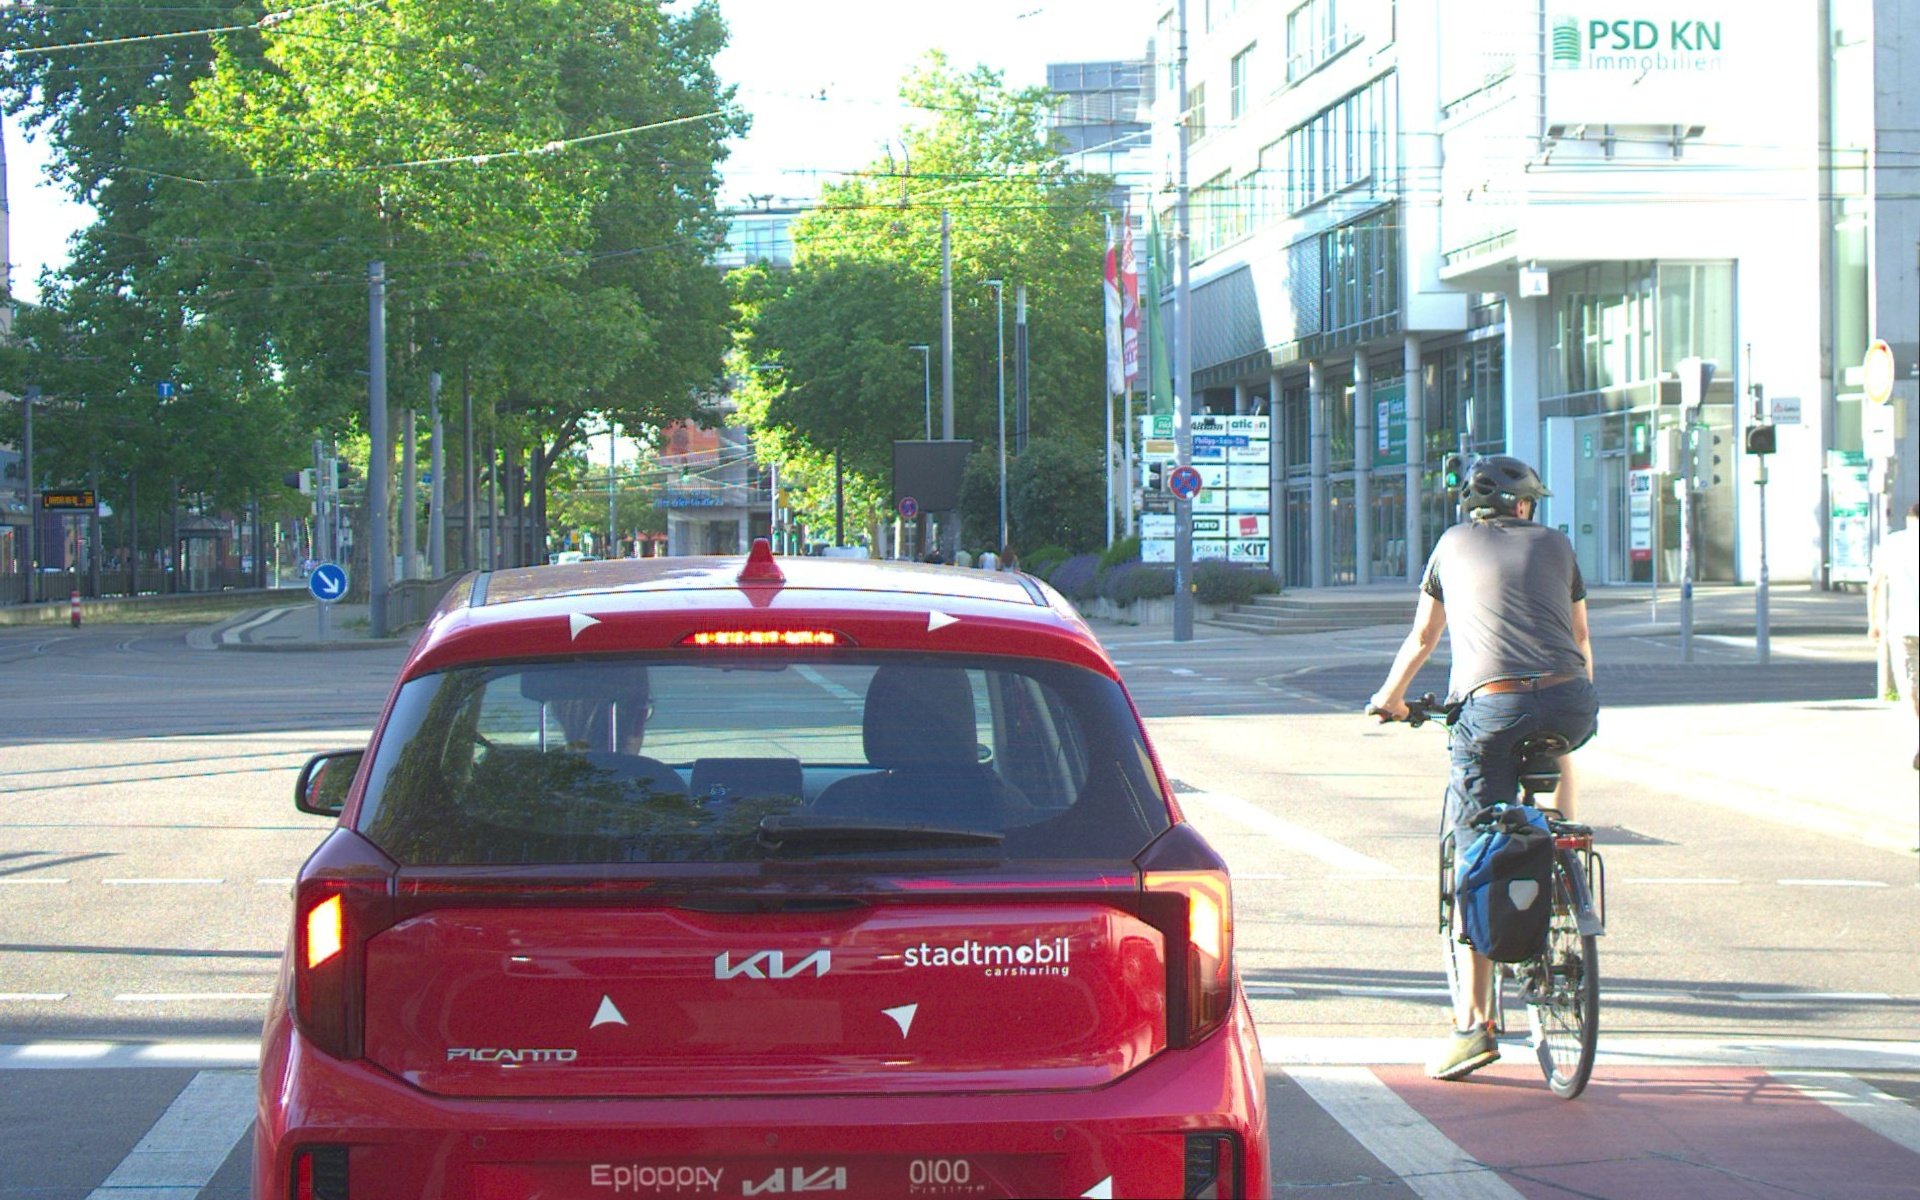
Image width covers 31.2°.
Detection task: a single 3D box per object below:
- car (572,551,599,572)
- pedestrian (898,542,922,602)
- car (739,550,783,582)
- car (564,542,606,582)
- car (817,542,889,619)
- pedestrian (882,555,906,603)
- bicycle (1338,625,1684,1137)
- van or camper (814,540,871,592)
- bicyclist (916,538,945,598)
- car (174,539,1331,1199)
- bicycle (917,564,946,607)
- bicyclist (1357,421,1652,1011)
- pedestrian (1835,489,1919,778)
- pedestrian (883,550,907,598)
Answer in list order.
[{"bbox_3d":[-27.840,-2.841,255.840,1.777,1.529,3.413,0,1,-10],"label":"car"},{"bbox_3d":[-1.417,-0.799,97.450,0.646,1.674,0.651,-1,1,0],"label":"pedestrian"},{"bbox_3d":[-9.727,-1.669,167.864,1.777,1.529,3.513,0,1,-10],"label":"car"},{"bbox_3d":[-19.163,-1.948,175.557,1.993,2.007,4.001,-1,1,-8],"label":"car"},{"bbox_3d":[-2.601,-0.481,82.912,1.635,1.794,3.330,-1,1,-3],"label":"car"},{"bbox_3d":[-2.443,-0.770,127.345,0.891,1.747,0.841,-1,1,-1],"label":"pedestrian"},{"bbox_3d":[1.541,0.739,9.923,0.650,1.276,1.966,-1,1,-1],"label":"bicycle"},{"bbox_3d":[-4.542,-1.308,132.299,1.993,1.982,4.745,0,1,-4],"label":"van or camper"},{"bbox_3d":[-0.807,-0.882,94.326,0.722,1.597,1.089,-3,1,0],"label":"bicyclist"},{"bbox_3d":[-0.433,0.655,6.513,1.613,1.529,3.412,0,1,-5],"label":"car"},{"bbox_3d":[-0.779,-0.402,94.402,0.696,1.094,1.751,-4,2,1],"label":"bicycle"},{"bbox_3d":[1.545,0.307,9.893,0.650,1.597,1.089,-1,1,-1],"label":"bicyclist"},{"bbox_3d":[6.215,0.195,22.245,0.777,1.817,1.216,-1,1,-1],"label":"pedestrian"},{"bbox_3d":[-2.192,-0.884,116.439,0.641,1.574,0.723,-4,1,-7],"label":"pedestrian"}]
